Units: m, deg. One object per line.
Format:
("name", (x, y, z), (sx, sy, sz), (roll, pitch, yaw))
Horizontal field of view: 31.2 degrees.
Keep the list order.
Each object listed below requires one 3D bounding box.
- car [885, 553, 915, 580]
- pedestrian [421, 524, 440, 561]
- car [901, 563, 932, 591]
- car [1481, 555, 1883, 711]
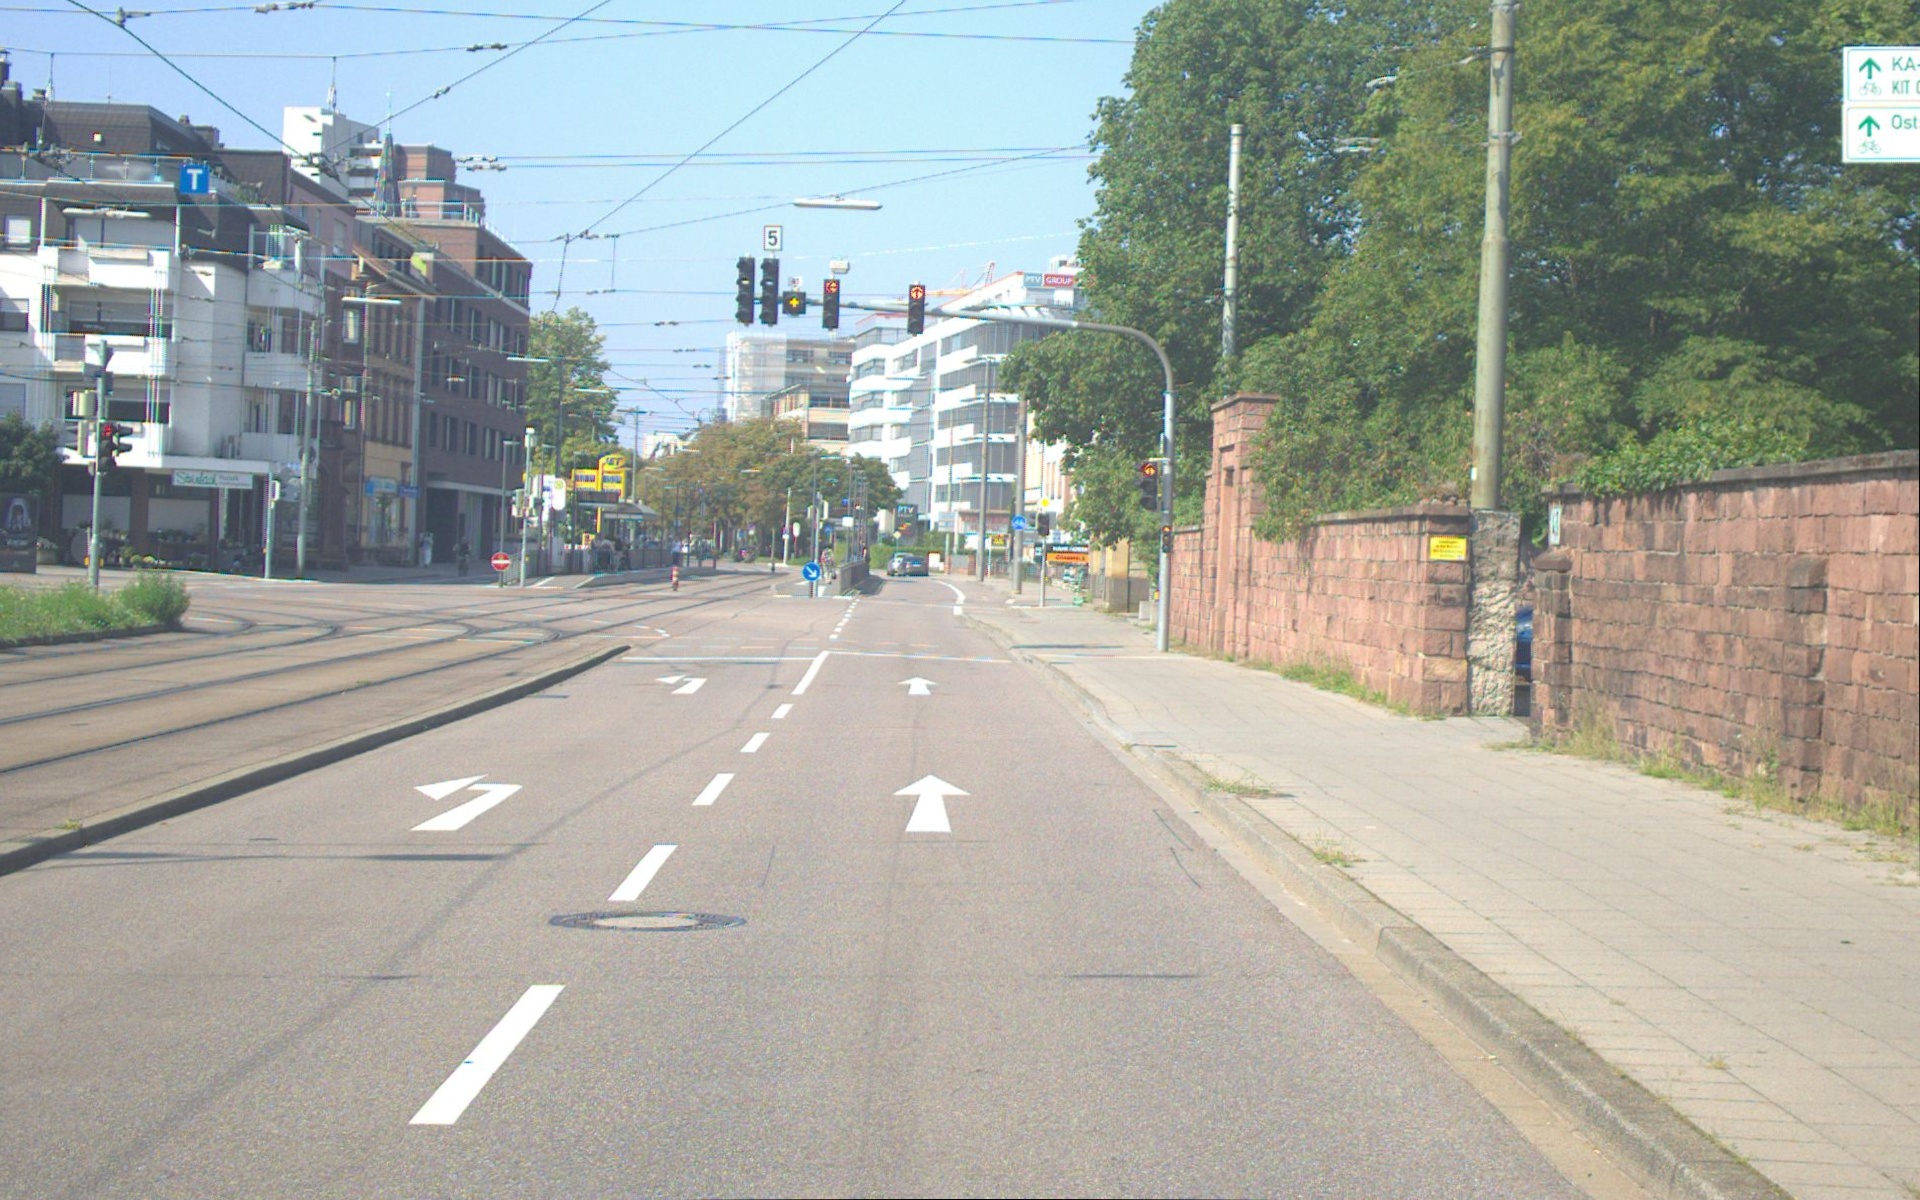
("car", (-4.174, -2.332, 239.591), (2.011, 1.852, 4.000), (1, 0, 1))
("pedestrian", (-23.273, -2.514, 151.049), (0.483, 1.554, 0.886), (3, -1, 10))
("car", (-2.966, -1.595, 233.522), (2.011, 1.852, 4.000), (1, 0, 1))
("car", (7.933, 0.346, 38.005), (3.967, 1.459, 1.778), (3, 1, -2))
